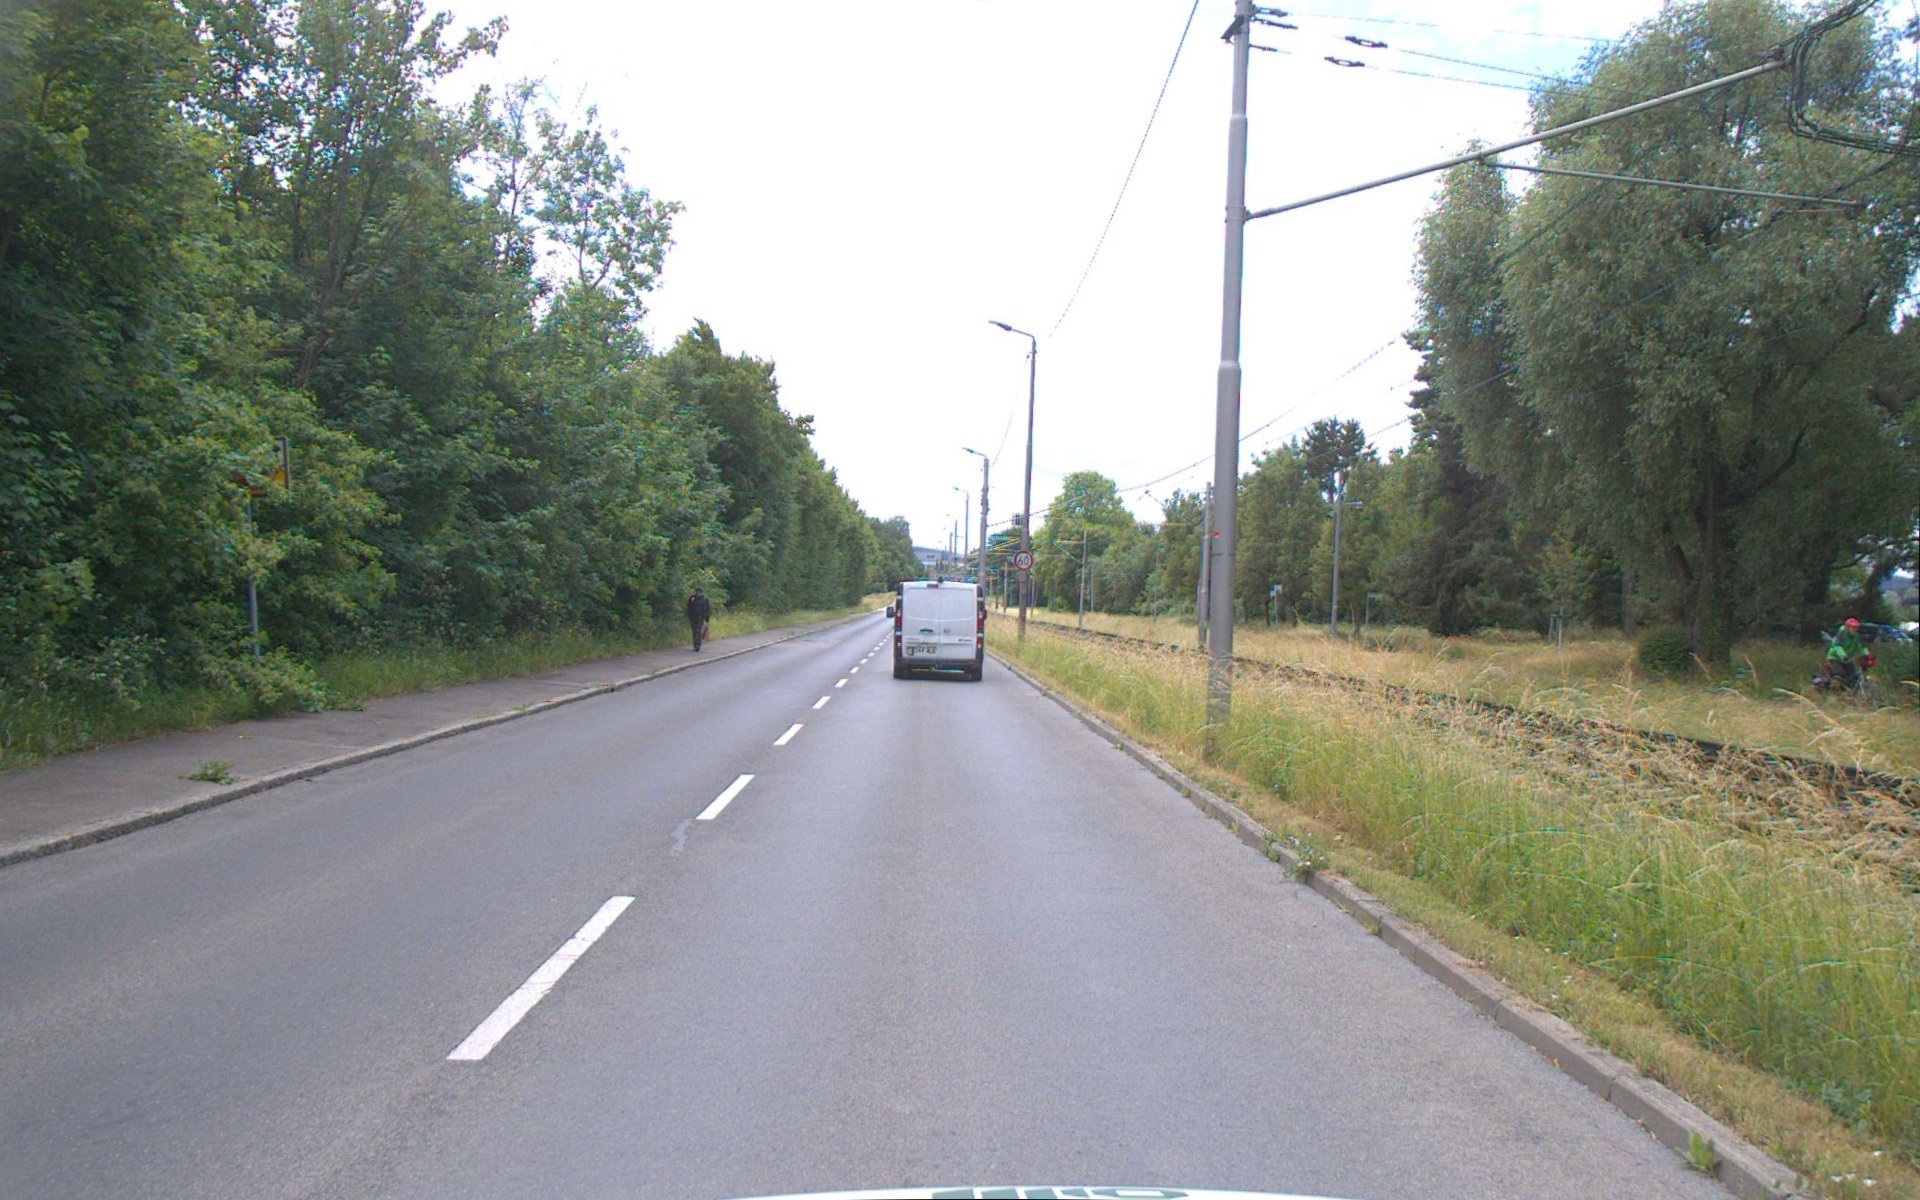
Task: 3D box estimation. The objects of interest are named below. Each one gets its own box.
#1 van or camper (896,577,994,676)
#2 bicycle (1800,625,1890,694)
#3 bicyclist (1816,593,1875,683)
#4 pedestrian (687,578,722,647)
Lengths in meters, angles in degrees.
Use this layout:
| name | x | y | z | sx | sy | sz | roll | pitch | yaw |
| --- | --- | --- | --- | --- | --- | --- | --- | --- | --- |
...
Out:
| name | x | y | z | sx | sy | sz | roll | pitch | yaw |
| --- | --- | --- | --- | --- | --- | --- | --- | --- | --- |
| van or camper | -0.369 | 0.535 | 34.637 | 1.903 | 1.930 | 4.283 | 1 | 0 | -2 |
| bicycle | 17.356 | 1.149 | 32.479 | 0.569 | 1.268 | 1.927 | 2 | 0 | -5 |
| bicyclist | 17.380 | 0.743 | 32.468 | 0.569 | 1.726 | 0.935 | 2 | 0 | -5 |
| pedestrian | -6.770 | 0.317 | 43.860 | 0.851 | 1.800 | 0.788 | -1 | 0 | -5 |
